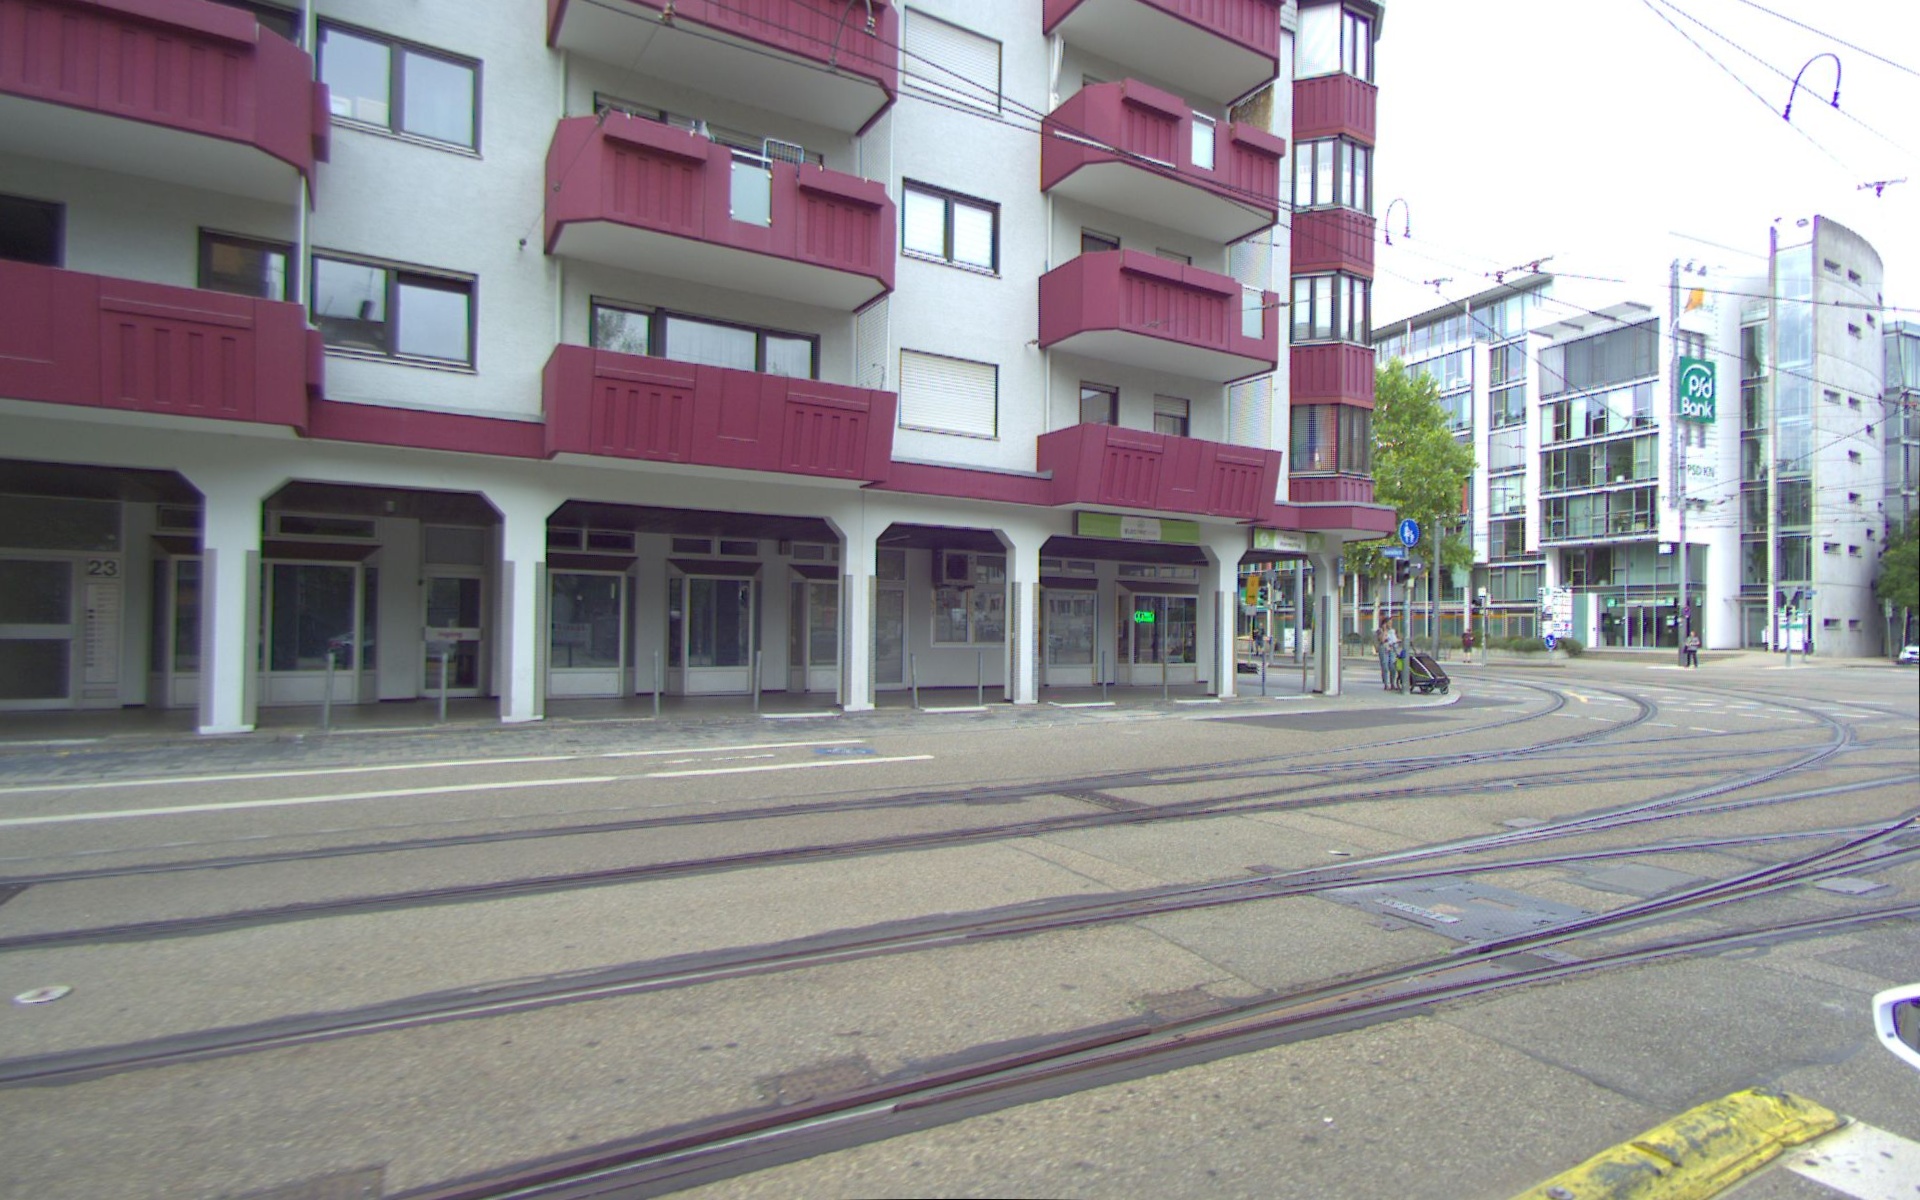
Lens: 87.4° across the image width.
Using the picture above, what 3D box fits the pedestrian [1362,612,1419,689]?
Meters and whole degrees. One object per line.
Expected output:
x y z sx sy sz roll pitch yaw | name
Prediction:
10.089 1.164 23.545 0.803 1.766 0.942 1 -1 -31 | pedestrian

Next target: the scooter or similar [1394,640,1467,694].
10.613 1.501 22.680 0.935 1.143 1.190 1 -1 -30 | scooter or similar

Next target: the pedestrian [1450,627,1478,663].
23.586 2.097 47.050 0.753 1.693 0.935 1 -1 -16 | pedestrian

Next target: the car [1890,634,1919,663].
54.879 2.761 56.868 4.158 1.577 1.824 1 0 -24 | car

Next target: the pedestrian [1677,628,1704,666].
37.068 2.377 50.955 0.753 1.889 0.834 1 -1 -16 | pedestrian

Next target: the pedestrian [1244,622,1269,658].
15.998 2.171 54.194 0.988 1.924 0.801 1 -1 -20 | pedestrian

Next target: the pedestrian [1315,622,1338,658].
19.677 2.151 53.890 0.831 1.880 0.838 1 -2 -30 | pedestrian

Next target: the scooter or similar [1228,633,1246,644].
23.876 3.312 86.526 0.580 0.963 1.853 1 -2 -17 | scooter or similar
